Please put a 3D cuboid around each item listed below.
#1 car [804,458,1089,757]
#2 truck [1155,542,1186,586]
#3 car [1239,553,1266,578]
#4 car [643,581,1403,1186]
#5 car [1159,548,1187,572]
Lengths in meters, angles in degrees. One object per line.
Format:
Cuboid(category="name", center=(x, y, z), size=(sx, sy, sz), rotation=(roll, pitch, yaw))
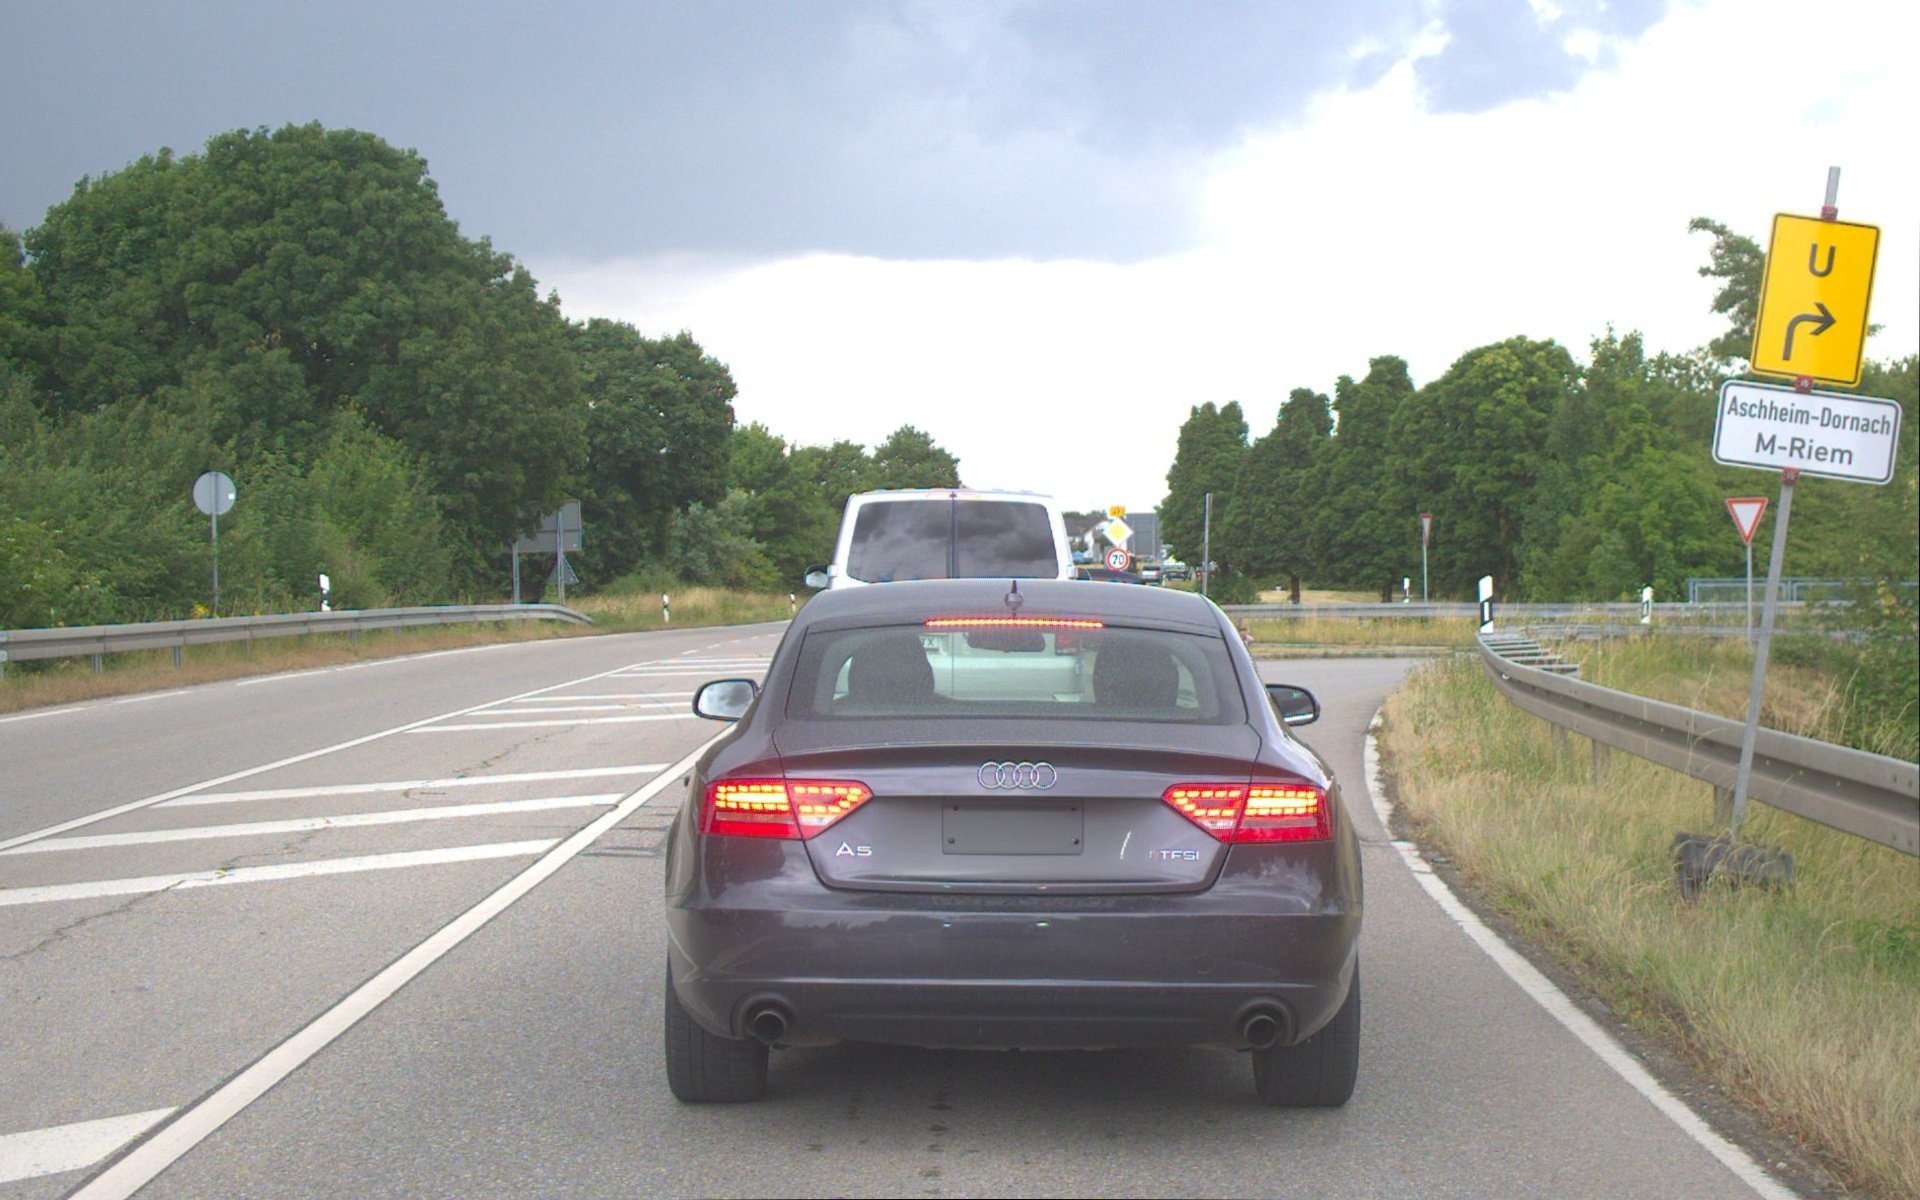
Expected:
Cuboid(category="car", center=(-0.105, 0.014, 25.393), size=(1.910, 2.007, 4.000), rotation=(1, 1, 0))
Cuboid(category="truck", center=(14.422, -2.482, 235.572), size=(1.994, 2.908, 5.792), rotation=(1, 1, 3))
Cuboid(category="car", center=(20.989, -2.474, 246.669), size=(1.876, 1.686, 3.999), rotation=(1, 1, 6))
Cuboid(category="car", center=(0.130, 0.658, 9.747), size=(1.779, 1.394, 3.337), rotation=(0, 1, -1))
Cuboid(category="car", center=(15.701, -2.965, 253.852), size=(1.994, 1.686, 4.000), rotation=(1, 1, 2))
